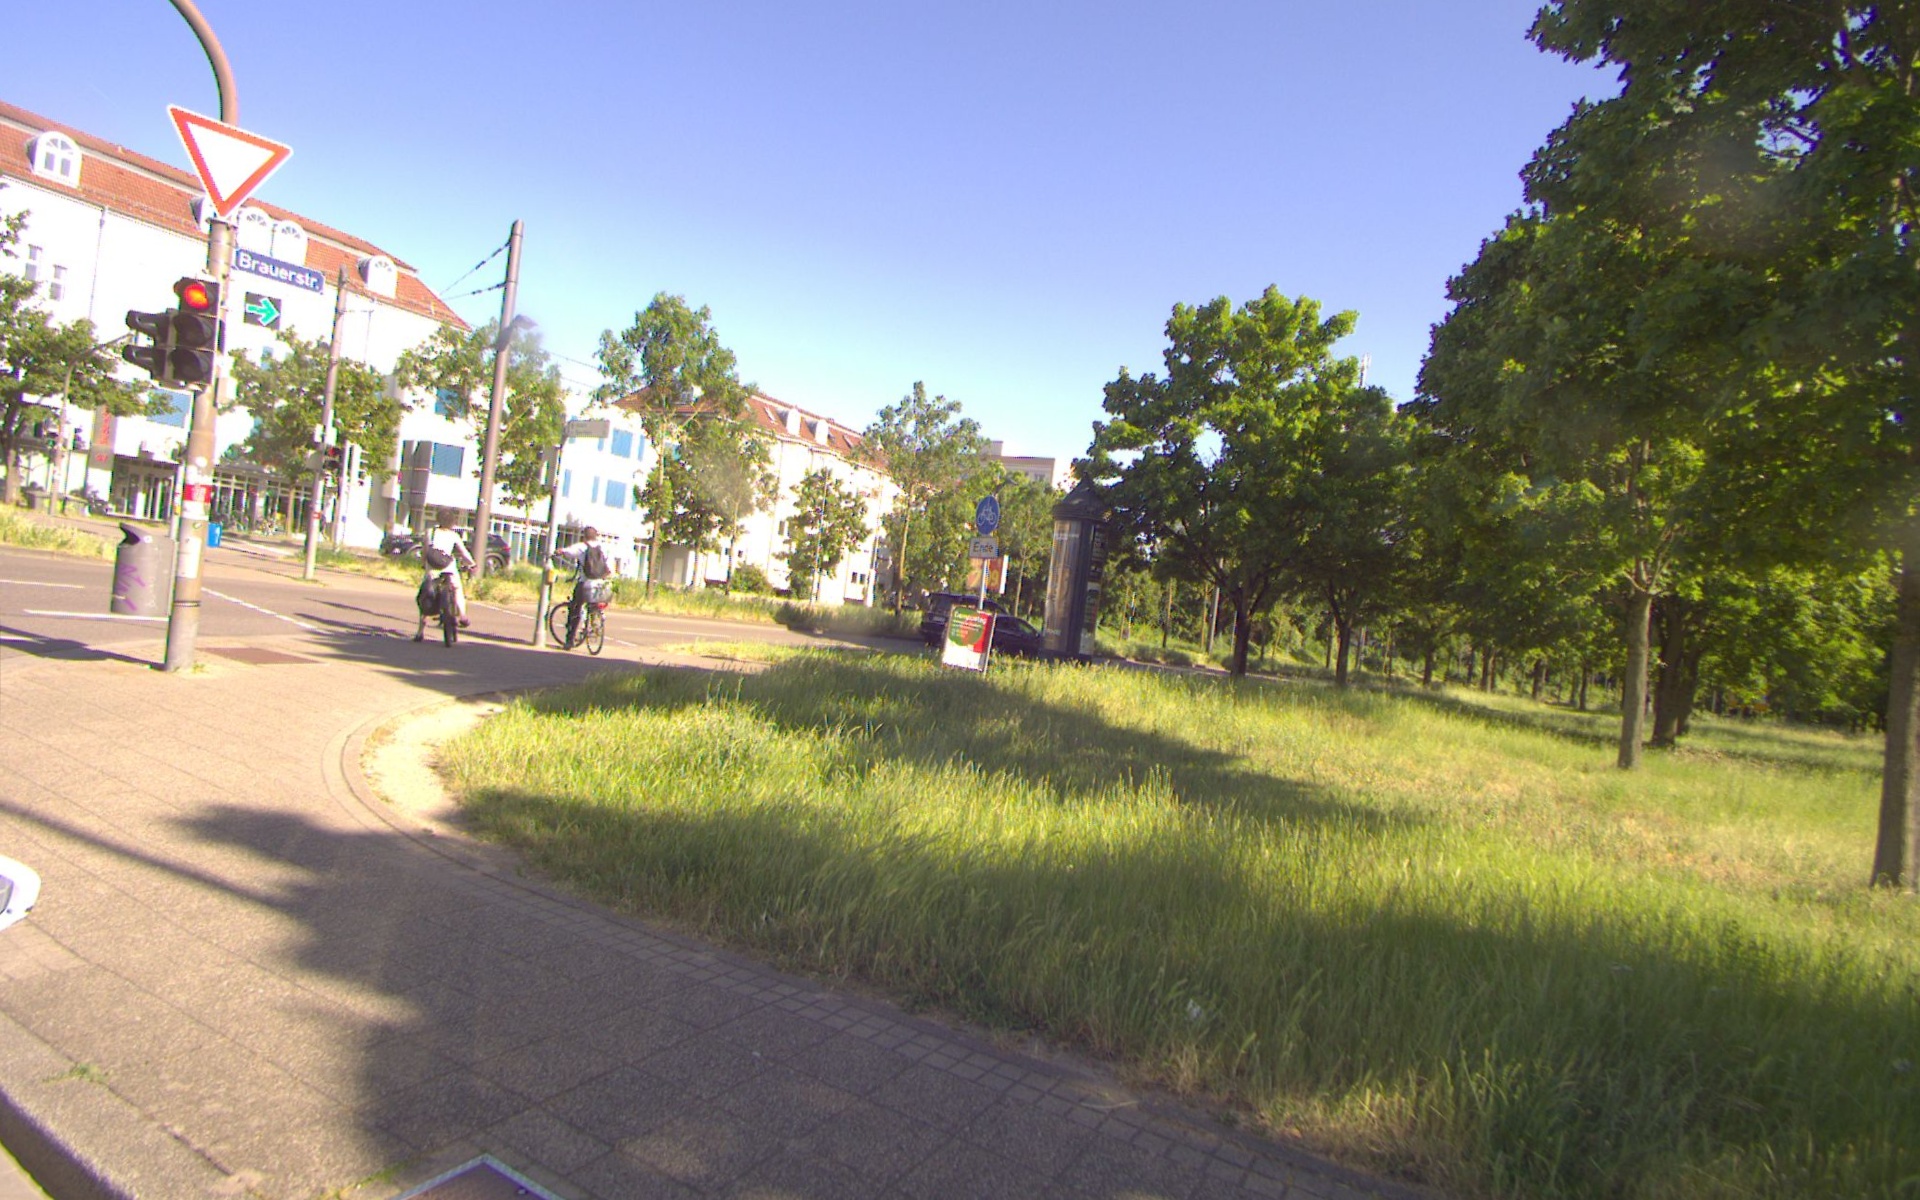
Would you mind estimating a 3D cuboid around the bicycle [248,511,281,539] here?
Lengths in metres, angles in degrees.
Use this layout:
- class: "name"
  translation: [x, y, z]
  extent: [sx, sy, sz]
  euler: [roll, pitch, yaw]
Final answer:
- class: "bicycle"
  translation: [-34.702, -3.726, 50.184]
  extent: [1.839, 1.197, 0.561]
  euler: [8, 1, 32]

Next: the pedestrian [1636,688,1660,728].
- class: "pedestrian"
  translation: [32.461, 5.096, 47.488]
  extent: [0.728, 1.748, 0.887]
  euler: [8, 1, 34]

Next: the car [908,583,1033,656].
- class: "car"
  translation: [0.437, 0.713, 34.262]
  extent: [1.738, 1.820, 4.487]
  euler: [7, -3, 38]

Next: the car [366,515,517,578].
- class: "car"
  translation: [-19.241, -1.957, 37.469]
  extent: [1.971, 1.629, 4.498]
  euler: [7, 0, 39]

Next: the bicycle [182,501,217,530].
- class: "bicycle"
  translation: [-36.162, -4.010, 47.832]
  extent: [1.837, 1.197, 0.561]
  euler: [8, 1, 29]

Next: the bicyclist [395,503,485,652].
- class: "bicyclist"
  translation: [-6.998, -0.305, 13.592]
  extent: [0.782, 1.847, 1.129]
  euler: [7, 1, -22]

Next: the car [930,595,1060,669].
- class: "car"
  translation: [1.086, 0.972, 29.632]
  extent: [1.669, 1.595, 3.859]
  euler: [7, -3, 40]

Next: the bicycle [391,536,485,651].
- class: "bicycle"
  translation: [-7.015, -0.119, 13.615]
  extent: [0.782, 1.364, 2.068]
  euler: [7, 0, -22]

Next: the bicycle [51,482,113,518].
- class: "bicycle"
  translation: [-37.567, -4.275, 43.071]
  extent: [0.552, 1.197, 1.868]
  euler: [8, 0, 26]

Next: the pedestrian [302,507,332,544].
- class: "pedestrian"
  translation: [-33.953, -3.929, 53.154]
  extent: [0.643, 1.745, 0.991]
  euler: [8, 1, 29]

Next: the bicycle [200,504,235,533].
- class: "bicycle"
  translation: [-35.979, -3.943, 48.767]
  extent: [1.837, 1.197, 0.561]
  euler: [8, 1, 29]

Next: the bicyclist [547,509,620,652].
- class: "bicyclist"
  translation: [-5.612, -0.288, 14.986]
  extent: [0.782, 1.983, 1.006]
  euler: [7, 1, -22]

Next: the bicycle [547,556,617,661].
- class: "bicycle"
  translation: [-5.659, 0.077, 15.026]
  extent: [0.782, 1.364, 2.251]
  euler: [7, 0, -22]
